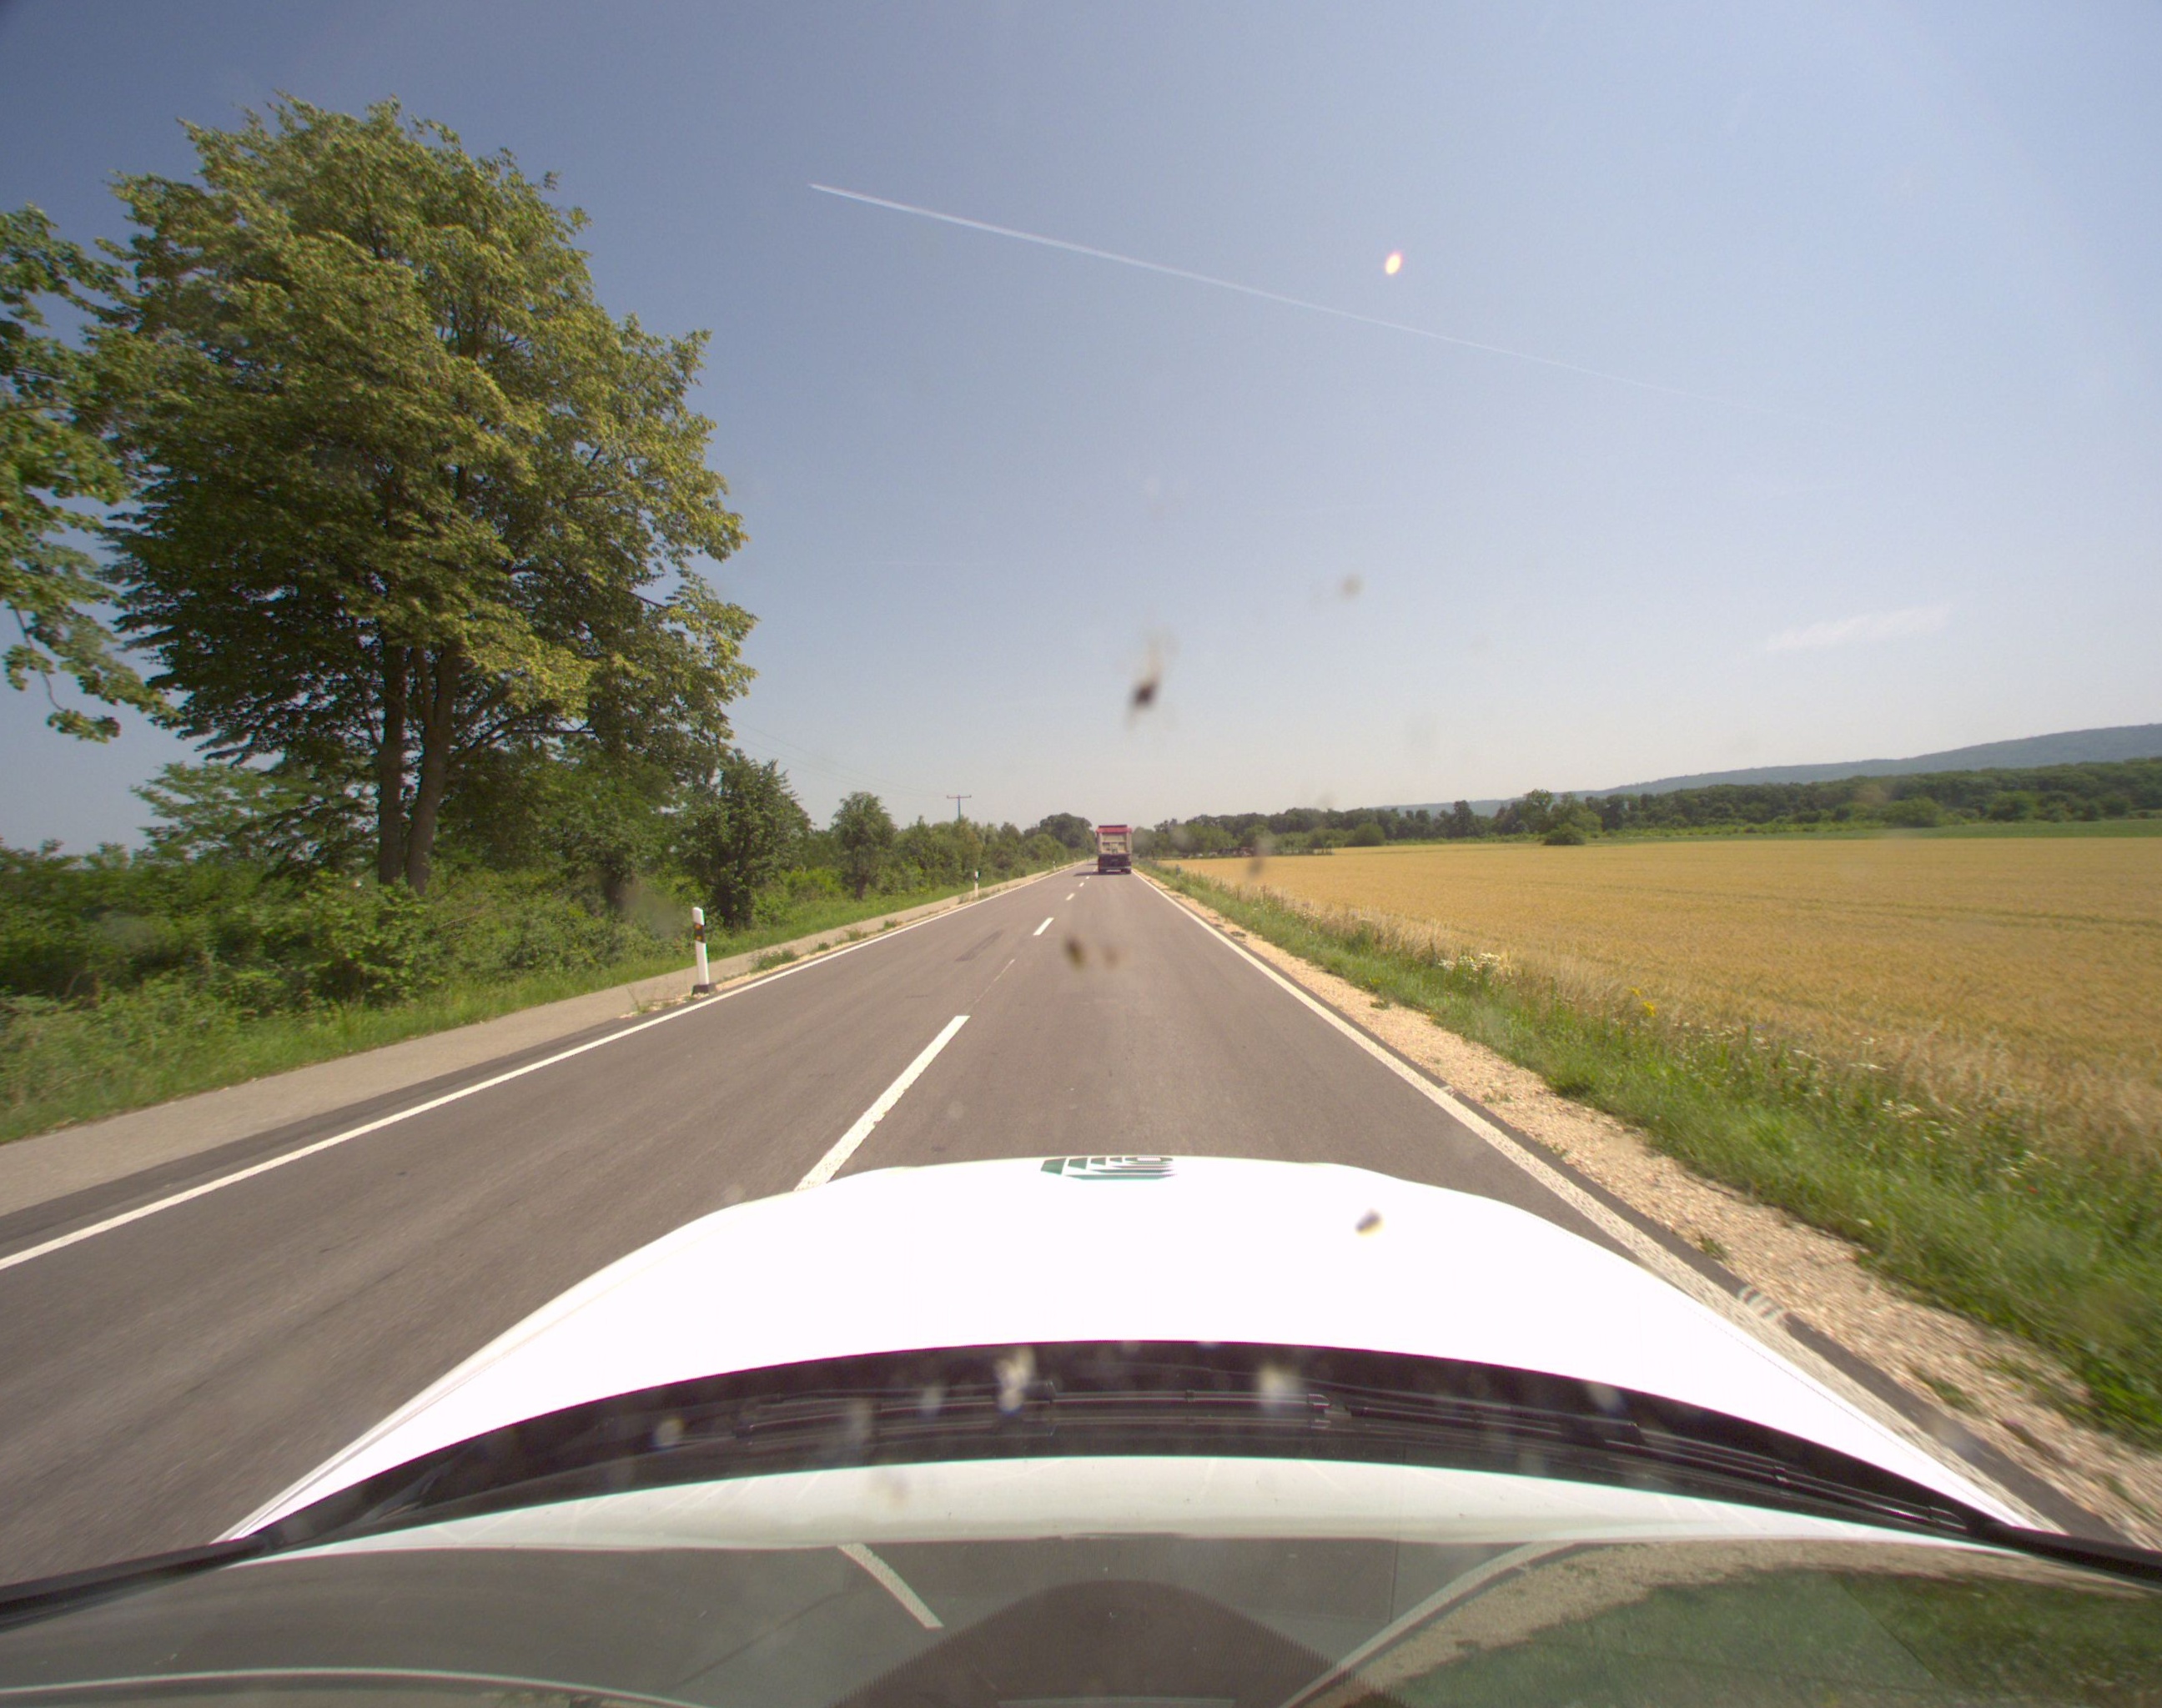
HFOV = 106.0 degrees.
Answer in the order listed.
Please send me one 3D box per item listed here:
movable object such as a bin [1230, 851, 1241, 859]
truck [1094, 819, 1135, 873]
[{"bbox_3d":[33.194,0.207,175.410,1.567,1.496,3.655,-2,0,-3],"label":"movable object such as a bin"},{"bbox_3d":[2.618,-0.565,64.584,2.998,3.874,12.214,0,0,2],"label":"truck"}]
